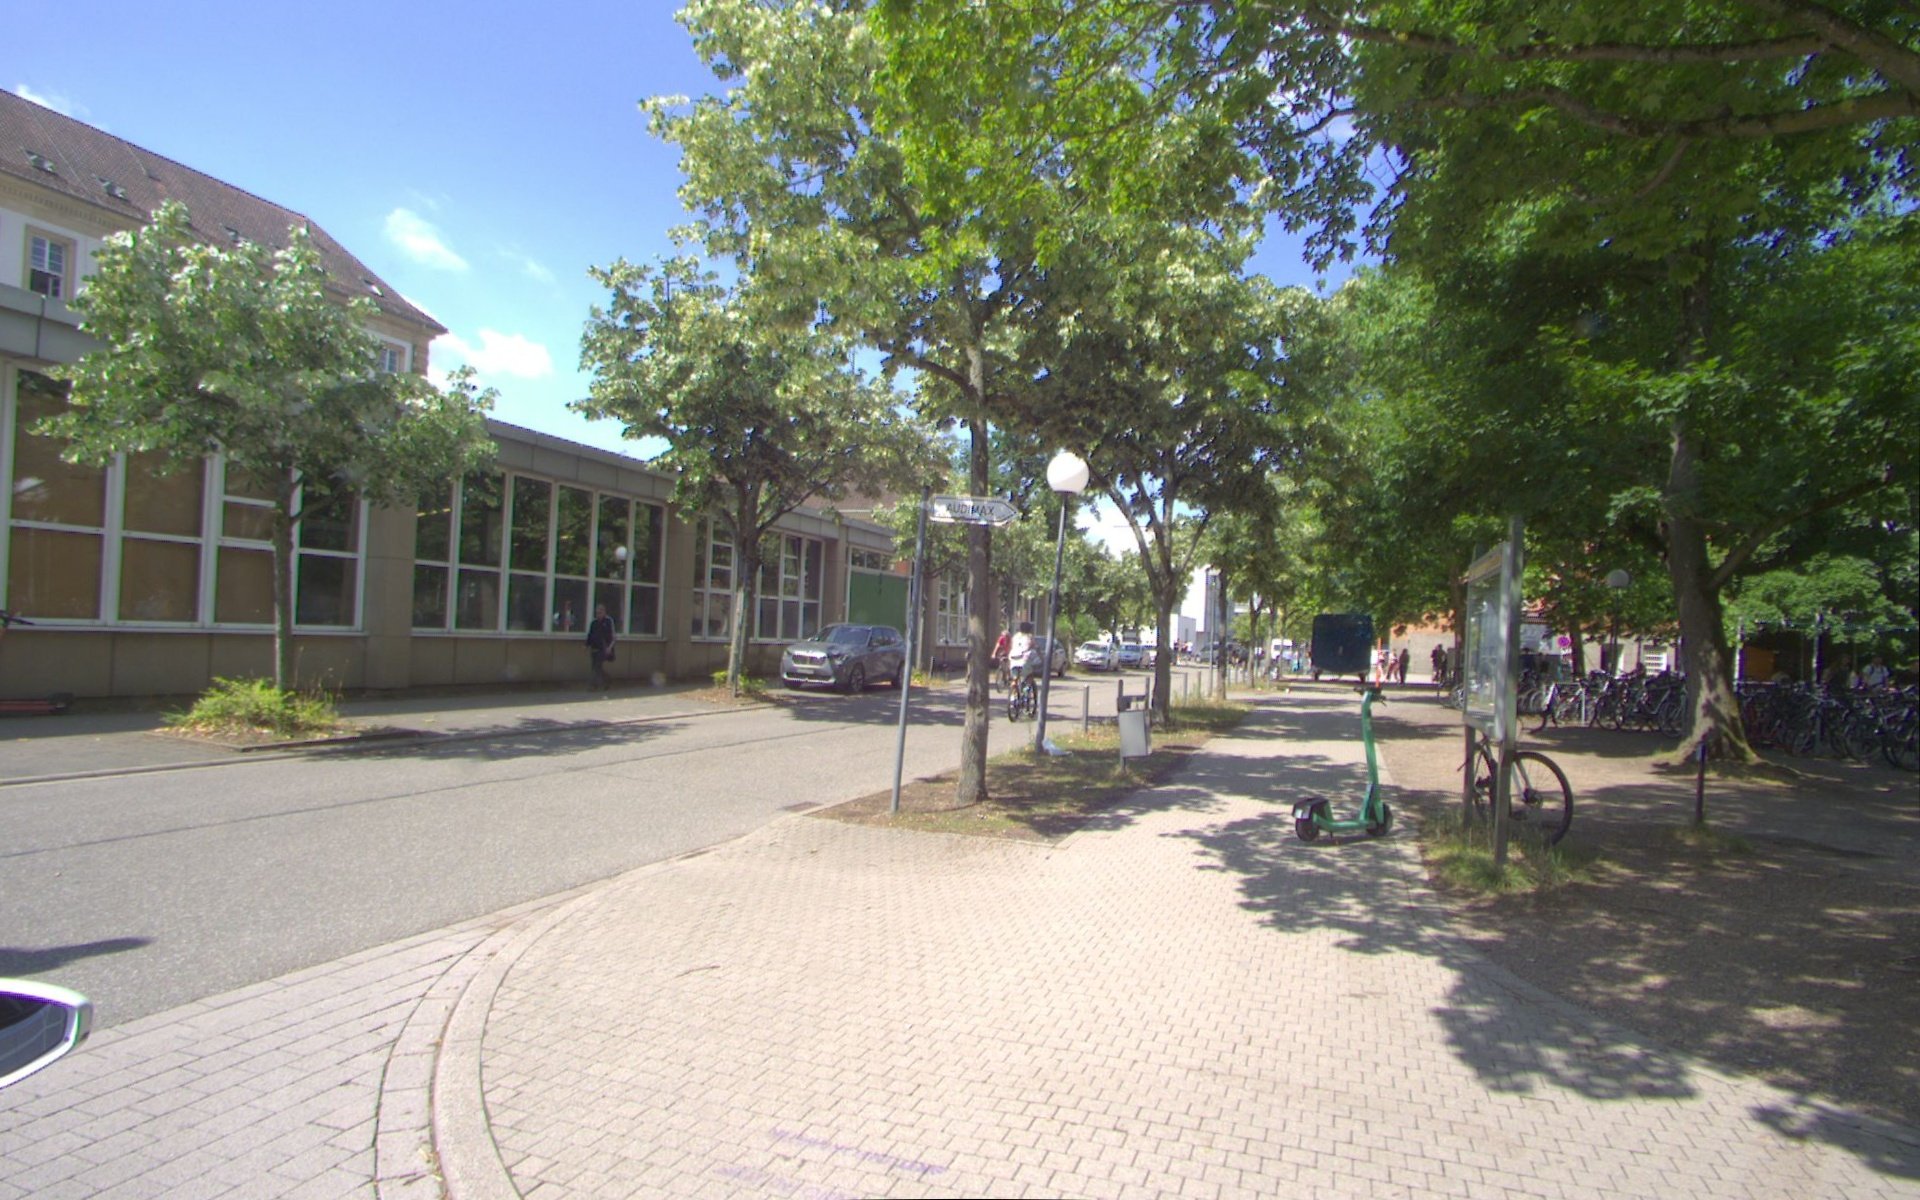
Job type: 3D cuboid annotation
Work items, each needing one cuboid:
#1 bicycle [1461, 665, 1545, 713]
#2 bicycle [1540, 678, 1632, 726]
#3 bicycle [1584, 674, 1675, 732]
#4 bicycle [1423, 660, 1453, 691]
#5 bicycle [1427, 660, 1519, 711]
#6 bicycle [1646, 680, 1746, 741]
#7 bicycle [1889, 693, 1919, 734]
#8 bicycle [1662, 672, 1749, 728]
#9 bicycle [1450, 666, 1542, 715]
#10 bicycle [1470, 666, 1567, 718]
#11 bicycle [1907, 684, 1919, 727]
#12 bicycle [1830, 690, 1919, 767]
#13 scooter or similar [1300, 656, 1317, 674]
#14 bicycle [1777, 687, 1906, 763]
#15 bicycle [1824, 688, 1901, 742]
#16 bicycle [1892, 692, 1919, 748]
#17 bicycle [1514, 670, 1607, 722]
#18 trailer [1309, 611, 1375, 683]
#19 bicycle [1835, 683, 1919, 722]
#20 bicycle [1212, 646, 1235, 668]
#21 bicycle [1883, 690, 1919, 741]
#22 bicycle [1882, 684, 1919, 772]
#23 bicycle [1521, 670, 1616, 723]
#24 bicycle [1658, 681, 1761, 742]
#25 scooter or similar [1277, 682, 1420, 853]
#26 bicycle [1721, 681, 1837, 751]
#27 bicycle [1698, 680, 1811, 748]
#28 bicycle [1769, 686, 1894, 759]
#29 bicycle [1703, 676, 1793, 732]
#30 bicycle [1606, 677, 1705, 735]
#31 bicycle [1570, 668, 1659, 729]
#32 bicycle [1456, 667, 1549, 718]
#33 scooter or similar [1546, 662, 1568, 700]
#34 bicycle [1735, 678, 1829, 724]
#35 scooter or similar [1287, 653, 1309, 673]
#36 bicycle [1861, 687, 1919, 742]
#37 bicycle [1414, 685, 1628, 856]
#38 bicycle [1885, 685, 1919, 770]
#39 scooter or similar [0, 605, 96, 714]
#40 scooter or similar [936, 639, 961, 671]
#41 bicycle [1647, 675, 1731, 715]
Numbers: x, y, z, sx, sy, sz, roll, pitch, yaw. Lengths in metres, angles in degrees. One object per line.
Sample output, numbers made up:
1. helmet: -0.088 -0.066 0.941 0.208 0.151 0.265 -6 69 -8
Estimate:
1. bicycle: 13.415 2.195 24.780 1.739 1.096 0.438 2 -1 10
2. bicycle: 13.231 2.148 21.162 1.706 0.921 0.494 2 -1 -8
3. bicycle: 13.326 2.048 19.928 1.708 1.066 0.494 3 -1 -15
4. bicycle: 20.814 3.276 43.629 0.521 1.268 1.738 1 -2 1
5. bicycle: 13.257 2.192 25.920 1.982 1.182 0.652 2 -1 10
6. bicycle: 13.659 2.050 18.586 1.760 1.041 0.381 3 -1 -11
7. bicycle: 25.800 3.030 26.513 1.921 1.052 0.435 2 -1 2
8. bicycle: 16.107 2.134 21.685 0.469 1.096 1.905 2 -2 1
9. bicycle: 13.092 2.206 24.499 1.912 1.096 0.404 2 -1 10
10. bicycle: 13.007 2.138 23.360 1.912 1.096 0.404 2 -1 10
11. bicycle: 25.134 2.703 25.430 1.749 1.052 0.435 2 -1 0
12. bicycle: 13.954 1.929 15.010 1.761 1.083 0.426 3 -1 -14
13. scooter or similar: 22.920 4.260 65.854 0.642 1.175 1.257 2 -2 37
14. bicycle: 13.732 1.945 15.602 1.759 1.083 0.426 2 -1 -7
15. bicycle: 17.681 2.248 19.609 1.875 0.991 0.476 3 -2 -27
16. bicycle: 18.115 2.217 18.507 1.871 0.991 0.477 2 -2 -19
17. bicycle: 13.363 2.133 22.293 1.876 1.073 0.325 2 -1 -2
18. trailer: 17.736 2.188 46.648 2.653 3.090 6.249 1 -2 20
19. bicycle: 25.594 2.836 27.844 1.921 0.991 0.613 2 -2 2
20. bicycle: 13.127 2.839 49.836 0.797 1.014 2.120 3 -2 22
21. bicycle: 19.621 2.333 20.156 1.868 0.991 0.478 2 -2 -9
22. bicycle: 13.913 1.812 14.115 1.760 1.185 0.402 3 -1 -13
23. bicycle: 13.360 2.121 21.983 1.876 1.073 0.325 2 -1 -2
24. bicycle: 13.626 2.028 18.216 1.760 1.041 0.381 3 -1 -10
25. scooter or similar: 3.000 1.228 7.678 1.349 1.129 0.492 2 0 -44
26. bicycle: 13.760 1.949 16.825 1.759 1.083 0.426 3 -1 -9
27. bicycle: 13.698 1.966 17.261 1.759 1.083 0.426 3 -1 -9
28. bicycle: 13.959 1.961 16.046 1.759 1.083 0.426 2 -1 -7
29. bicycle: 17.080 2.231 21.766 0.469 1.096 1.905 2 -2 1
30. bicycle: 13.533 2.057 19.486 1.763 1.041 0.440 3 -1 -11
31. bicycle: 13.534 2.038 20.701 1.708 1.170 0.494 3 -1 -15
32. bicycle: 13.030 2.215 24.072 1.912 1.096 0.404 2 -1 10
33. scooter or similar: 20.040 2.715 33.618 0.418 1.234 1.292 2 -2 22
34. bicycle: 19.530 2.396 23.805 1.867 0.991 0.479 2 -2 -1
35. scooter or similar: 23.038 4.285 68.356 0.632 1.281 1.255 3 -2 -36
36. bicycle: 17.932 2.174 19.093 1.875 0.991 0.476 3 -2 -27
37. bicycle: 4.229 1.238 7.700 0.616 1.096 1.690 4 -4 -1
38. bicycle: 14.456 1.876 14.653 1.760 1.185 0.402 3 -1 -13
39. scooter or similar: -11.006 0.683 11.746 0.377 1.223 1.244 4 0 20
40. scooter or similar: -0.453 2.145 39.130 0.498 1.184 1.213 4 -1 22
41. bicycle: 19.621 2.539 26.950 1.867 0.991 0.479 2 -2 2
